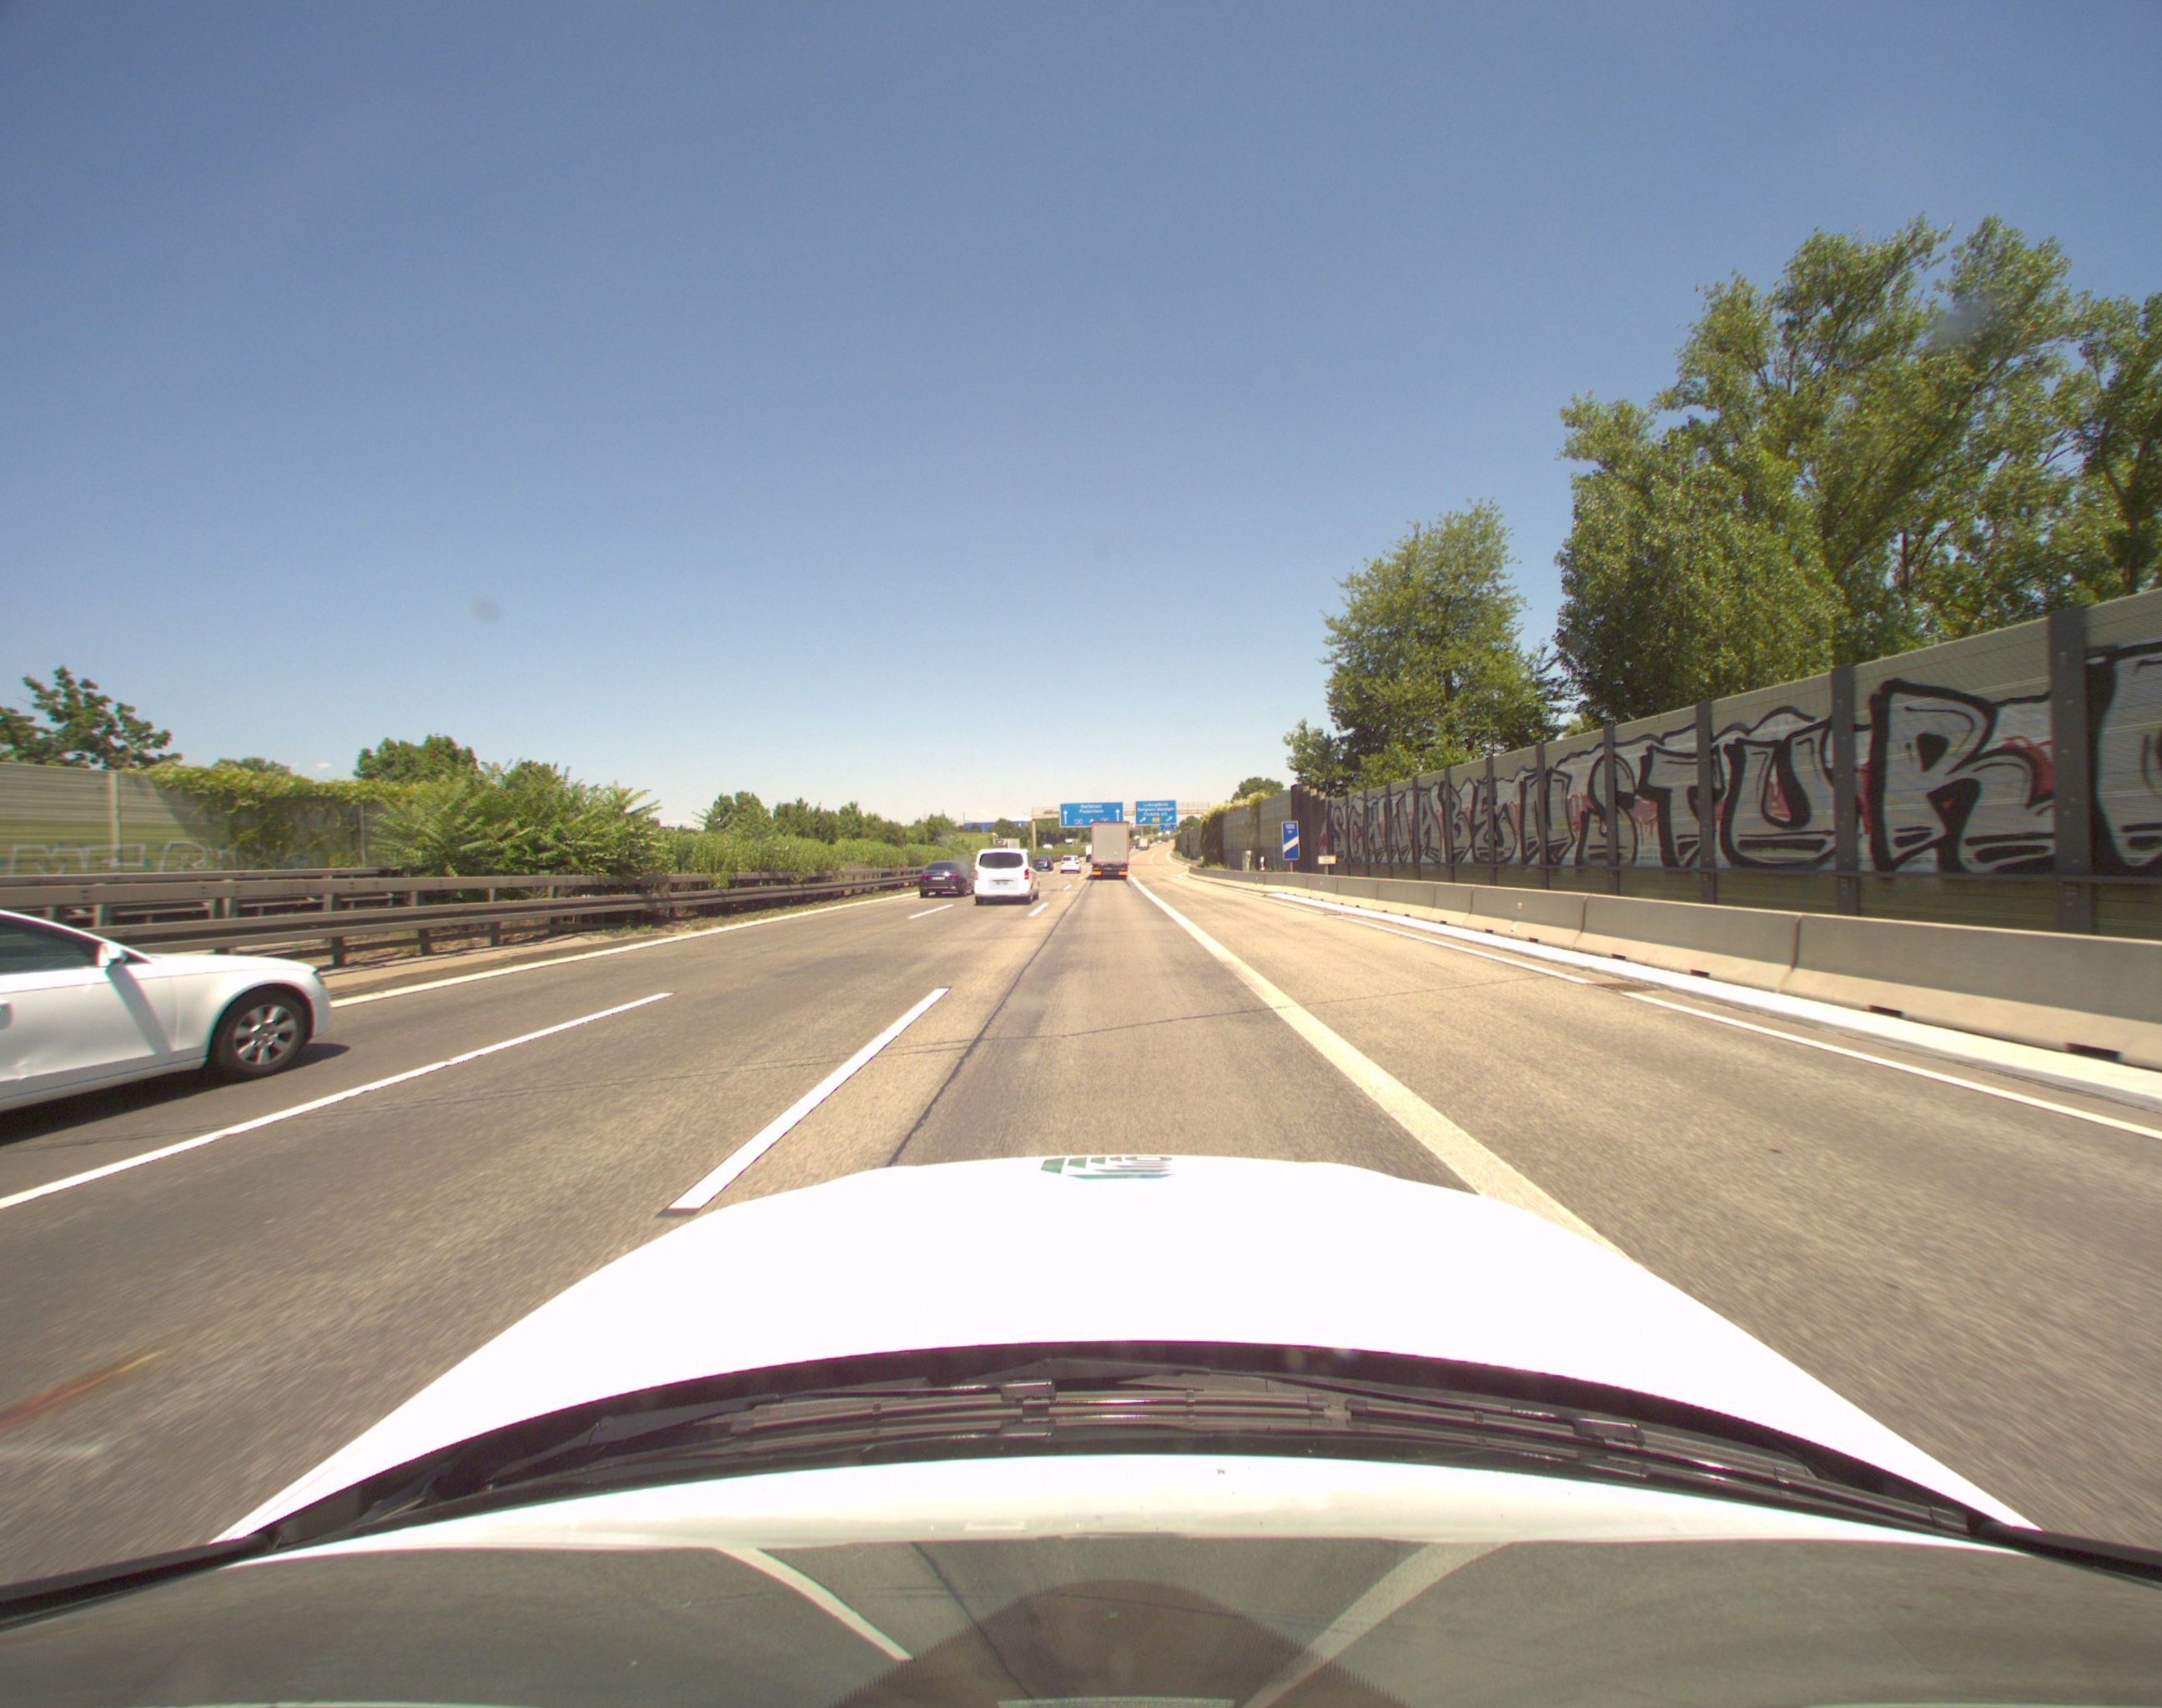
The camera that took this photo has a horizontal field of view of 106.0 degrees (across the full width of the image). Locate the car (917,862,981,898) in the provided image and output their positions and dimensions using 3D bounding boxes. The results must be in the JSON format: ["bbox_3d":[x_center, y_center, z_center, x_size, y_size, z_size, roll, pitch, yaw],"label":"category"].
[{"bbox_3d":[-5.566,1.056,34.908,1.750,1.408,5.041,-1,-1,2],"label":"car"}]

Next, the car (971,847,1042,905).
[{"bbox_3d":[-2.519,0.728,28.739,1.923,1.851,4.694,-1,-1,2],"label":"car"}]

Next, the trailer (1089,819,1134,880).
[{"bbox_3d":[2.257,-0.260,60.699,2.917,4.015,12.043,-1,-1,2],"label":"trailer"}]

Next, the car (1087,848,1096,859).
[{"bbox_3d":[2.198,-0.097,170.095,1.986,2.374,4.001,0,-1,1],"label":"car"}]

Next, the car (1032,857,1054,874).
[{"bbox_3d":[-3.849,1.180,83.230,1.897,1.689,4.632,-1,-1,2],"label":"car"}]

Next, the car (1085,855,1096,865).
[{"bbox_3d":[1.618,0.994,136.960,1.897,1.689,4.632,-1,-1,2],"label":"car"}]

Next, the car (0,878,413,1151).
[{"bbox_3d":[-6.900,0.949,4.609,1.869,1.440,5.127,-2,-1,2],"label":"car"}]

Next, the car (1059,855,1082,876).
[{"bbox_3d":[-0.934,1.069,75.442,1.897,1.851,4.632,-1,-1,2],"label":"car"}]
